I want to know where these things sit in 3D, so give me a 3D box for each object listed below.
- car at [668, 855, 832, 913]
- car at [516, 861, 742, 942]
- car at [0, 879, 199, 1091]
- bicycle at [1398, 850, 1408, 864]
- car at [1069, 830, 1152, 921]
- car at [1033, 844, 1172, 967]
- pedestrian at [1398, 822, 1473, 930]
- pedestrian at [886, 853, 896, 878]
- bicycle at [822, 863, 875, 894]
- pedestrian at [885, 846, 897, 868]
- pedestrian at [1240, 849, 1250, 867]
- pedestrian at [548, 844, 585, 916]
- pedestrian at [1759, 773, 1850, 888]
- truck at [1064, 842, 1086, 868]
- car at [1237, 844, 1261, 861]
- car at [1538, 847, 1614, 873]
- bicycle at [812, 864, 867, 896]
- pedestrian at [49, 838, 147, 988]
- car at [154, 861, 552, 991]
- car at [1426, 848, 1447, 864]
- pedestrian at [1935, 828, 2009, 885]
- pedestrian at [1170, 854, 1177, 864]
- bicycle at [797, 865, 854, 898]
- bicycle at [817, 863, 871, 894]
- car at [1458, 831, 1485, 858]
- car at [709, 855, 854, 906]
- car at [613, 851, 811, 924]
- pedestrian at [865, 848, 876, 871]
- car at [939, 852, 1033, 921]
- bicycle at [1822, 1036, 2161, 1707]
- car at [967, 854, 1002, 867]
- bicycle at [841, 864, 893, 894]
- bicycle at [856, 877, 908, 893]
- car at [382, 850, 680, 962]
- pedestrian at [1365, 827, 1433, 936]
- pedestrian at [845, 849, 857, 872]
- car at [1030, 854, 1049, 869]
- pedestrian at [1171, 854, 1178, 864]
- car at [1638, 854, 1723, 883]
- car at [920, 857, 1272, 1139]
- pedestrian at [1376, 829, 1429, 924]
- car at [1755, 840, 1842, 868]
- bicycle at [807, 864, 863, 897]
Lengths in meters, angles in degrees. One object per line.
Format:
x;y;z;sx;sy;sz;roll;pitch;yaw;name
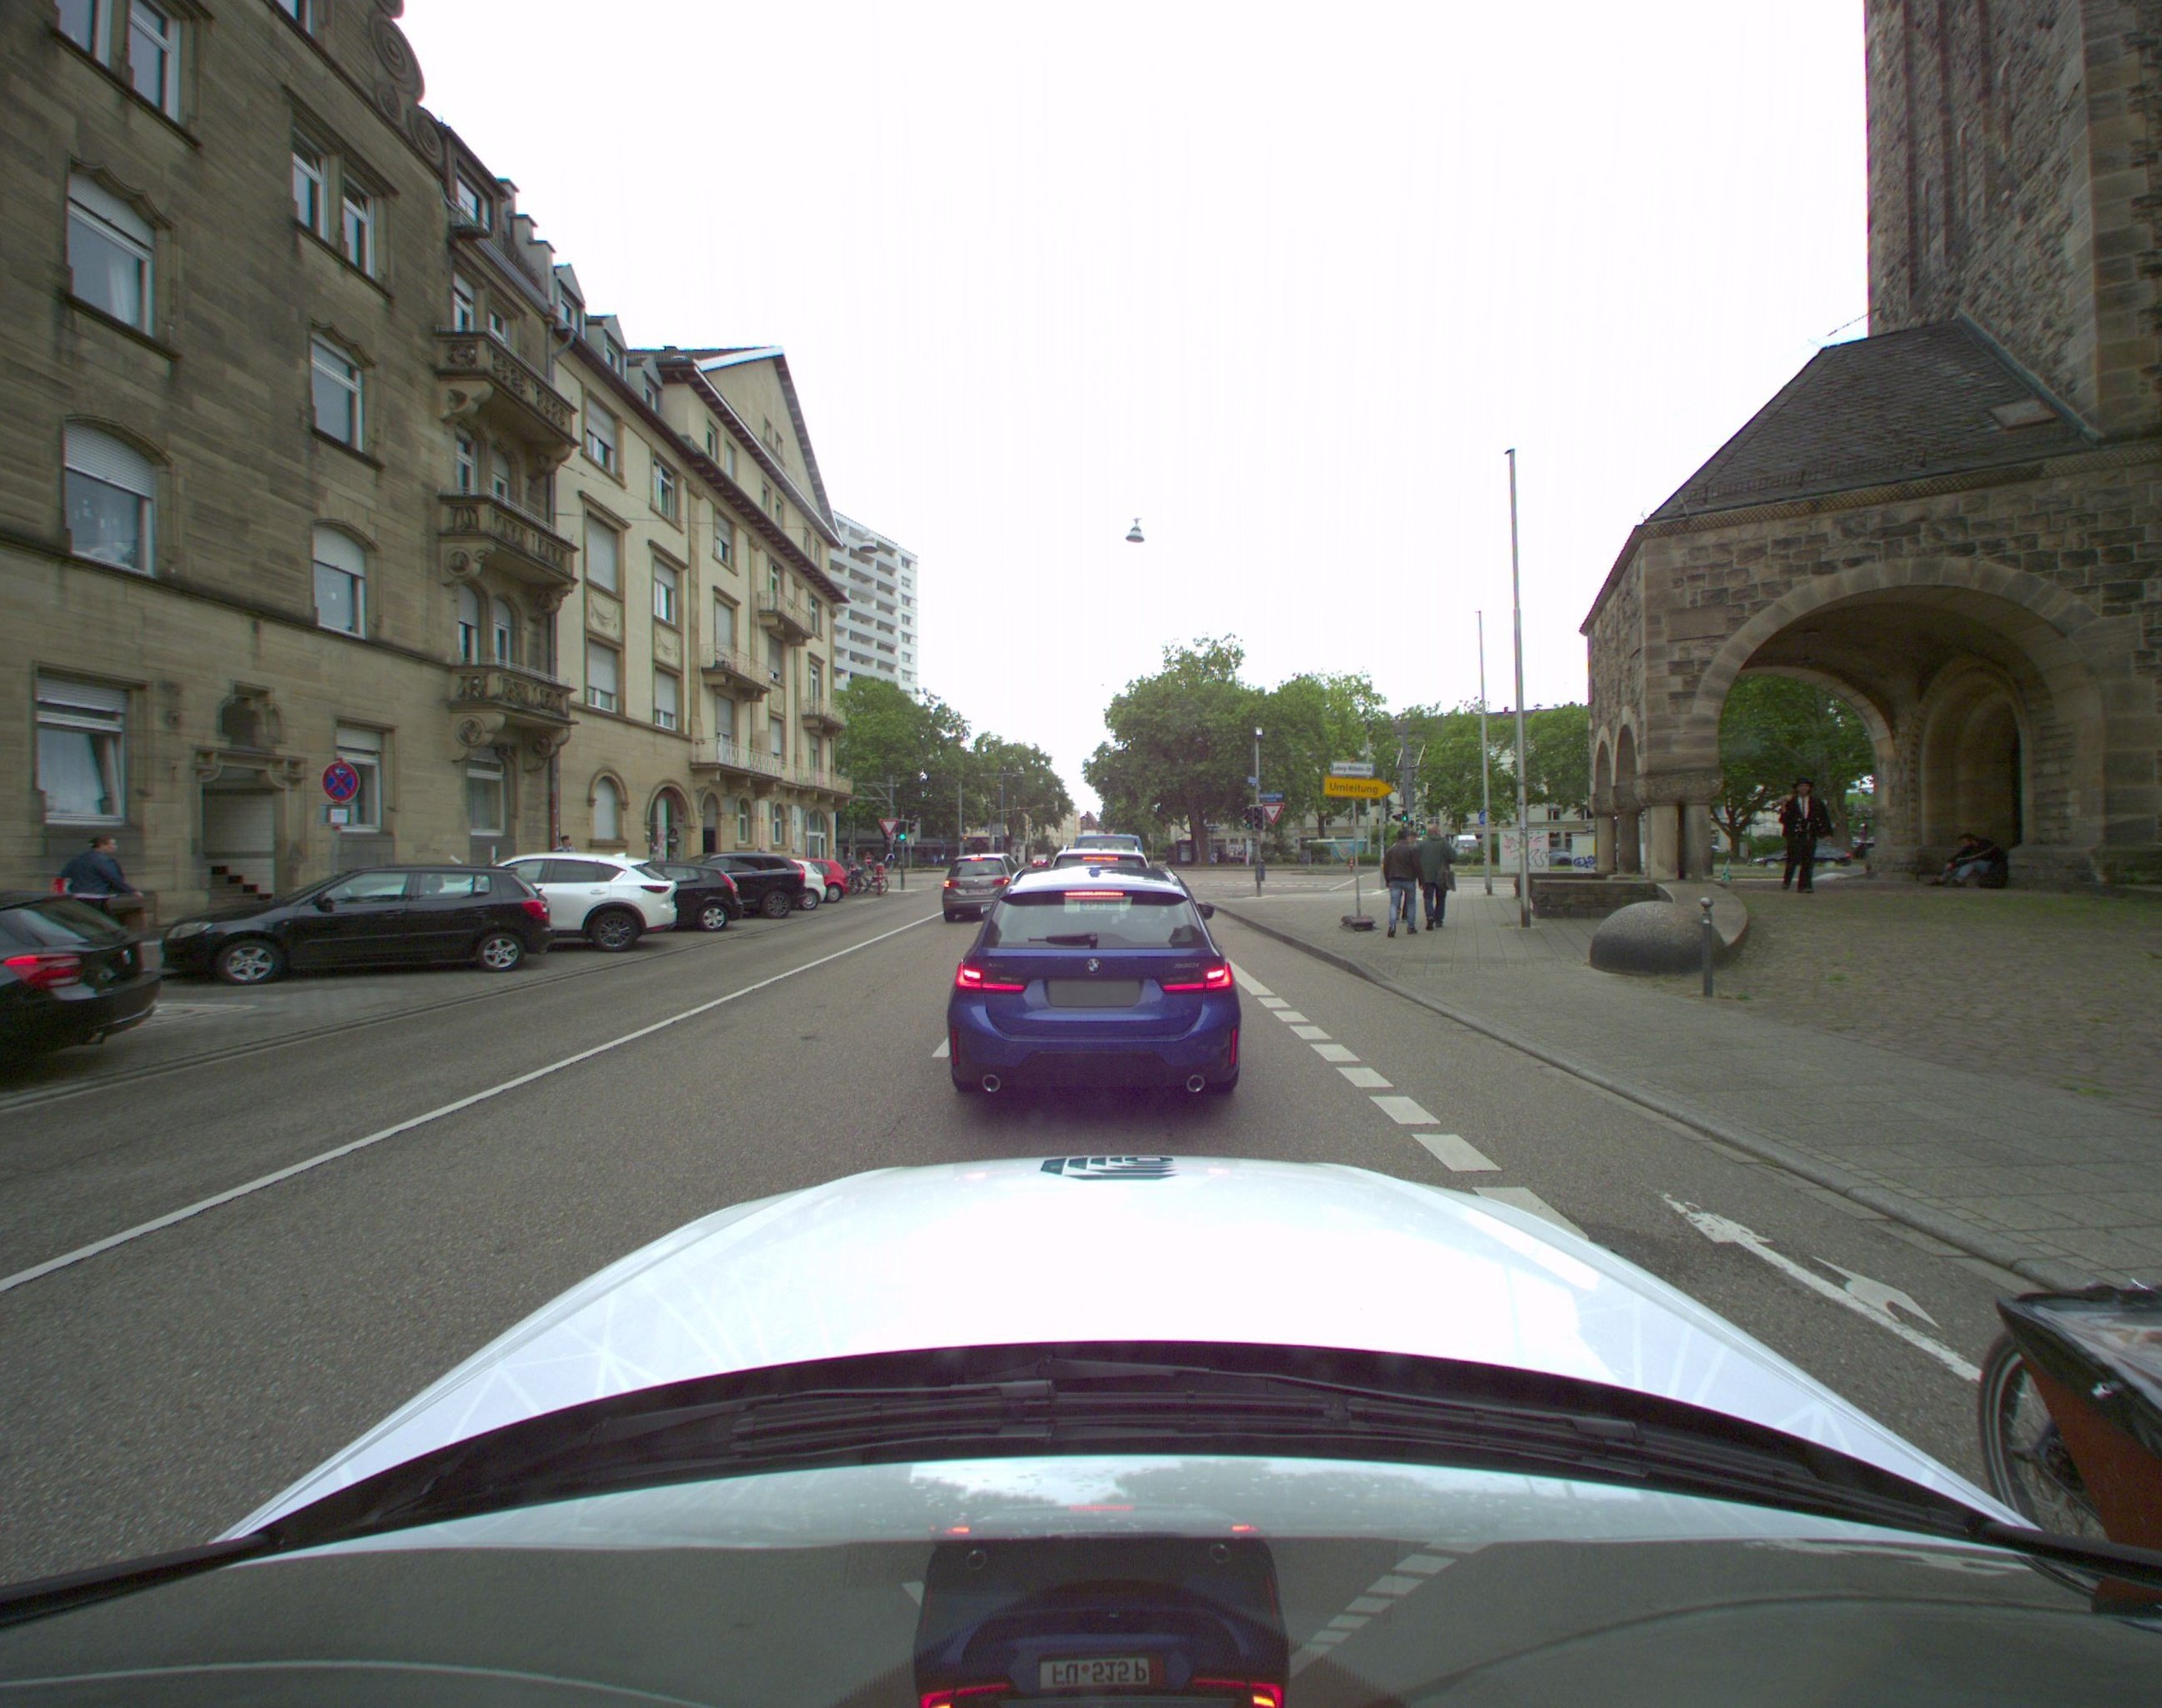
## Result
-9.345;0.822;23.186;4.021;1.472;1.546;2;0;-41;car
-9.497;0.911;17.232;4.017;1.494;1.713;0;0;-36;car
-9.107;0.908;5.466;4.016;1.417;1.644;1;-1;-34;car
23.503;0.201;59.469;0.546;0.995;2.072;-1;0;24;bicycle
0.720;0.472;20.212;1.808;2.005;4.002;-1;0;2;car
0.344;0.677;12.759;1.808;1.592;4.002;-1;0;2;car
6.088;0.365;14.042;0.801;1.758;0.969;-3;0;1;pedestrian
-15.326;0.928;65.723;0.623;2.014;0.617;0;-1;0;pedestrian
-9.167;0.965;32.163;1.880;1.035;0.442;5;0;-1;bicycle
-15.832;0.268;67.913;0.668;1.771;0.730;-1;0;43;pedestrian
15.635;0.400;77.644;0.781;1.743;0.925;-1;0;0;pedestrian
-12.992;0.654;20.576;0.564;1.785;0.551;-1;0;3;pedestrian
11.875;-0.367;13.401;0.806;1.808;1.025;-1;0;22;pedestrian
-0.542;0.099;81.165;2.068;2.408;5.461;-2;0;0;truck
22.117;-0.198;107.074;2.154;2.200;4.024;-1;0;26;car
31.472;0.393;51.932;3.940;1.561;1.697;-1;0;24;car
-9.153;0.969;30.864;1.880;1.035;0.442;5;0;-1;bicycle
-13.220;0.777;10.966;0.616;1.958;0.551;-1;0;2;pedestrian
-9.631;0.868;11.200;3.830;1.497;1.552;1;-1;-37;car
35.099;0.149;80.370;1.649;1.515;3.962;-1;0;28;car
15.514;0.046;14.201;0.665;0.951;0.618;-1;0;24;pedestrian
11.834;0.634;103.919;0.814;1.372;0.763;-1;0;1;pedestrian
-9.271;0.988;29.514;1.877;1.035;0.443;4;0;4;bicycle
-9.151;0.948;31.527;1.880;1.035;0.442;5;0;-1;bicycle
39.209;-0.921;81.738;2.214;2.639;5.480;-1;0;28;car
-9.499;0.807;26.041;1.663;1.472;4.024;1;0;43;car
-9.218;0.769;20.533;4.248;1.651;1.711;0;0;-41;car
-16.771;0.453;64.980;0.672;1.771;0.726;-1;0;1;pedestrian
-2.270;0.735;20.353;1.726;1.525;4.002;-1;0;2;car
1.709;0.989;0.848;0.490;1.098;2.148;-1;0;17;bicycle
-12.418;0.859;104.949;4.014;1.706;1.980;0;-1;-32;car
-8.588;0.993;32.697;1.880;1.035;0.442;5;0;-1;bicycle
-8.224;1.284;33.728;1.880;0.445;1.029;5;2;-1;bicycle
-9.281;0.796;14.200;4.004;1.723;1.827;0;0;-23;car
5.209;0.436;13.398;0.672;1.686;0.969;-3;0;2;pedestrian
-18.177;0.492;64.384;0.672;1.771;0.726;-1;0;1;pedestrian
-4.217;0.773;83.388;1.643;1.447;3.512;-1;0;2;car
11.825;0.659;102.968;0.850;1.314;0.763;-1;0;1;pedestrian
36.516;0.874;49.717;3.901;1.711;1.697;-1;-1;24;car
0.147;0.761;6.401;1.808;1.405;4.322;-1;0;2;car
5.928;0.405;15.074;0.629;1.673;0.971;-3;0;8;pedestrian
41.451;0.016;47.124;3.425;1.561;1.697;-1;0;24;car
-9.156;0.987;30.328;1.880;1.035;0.442;5;0;-1;bicycle
